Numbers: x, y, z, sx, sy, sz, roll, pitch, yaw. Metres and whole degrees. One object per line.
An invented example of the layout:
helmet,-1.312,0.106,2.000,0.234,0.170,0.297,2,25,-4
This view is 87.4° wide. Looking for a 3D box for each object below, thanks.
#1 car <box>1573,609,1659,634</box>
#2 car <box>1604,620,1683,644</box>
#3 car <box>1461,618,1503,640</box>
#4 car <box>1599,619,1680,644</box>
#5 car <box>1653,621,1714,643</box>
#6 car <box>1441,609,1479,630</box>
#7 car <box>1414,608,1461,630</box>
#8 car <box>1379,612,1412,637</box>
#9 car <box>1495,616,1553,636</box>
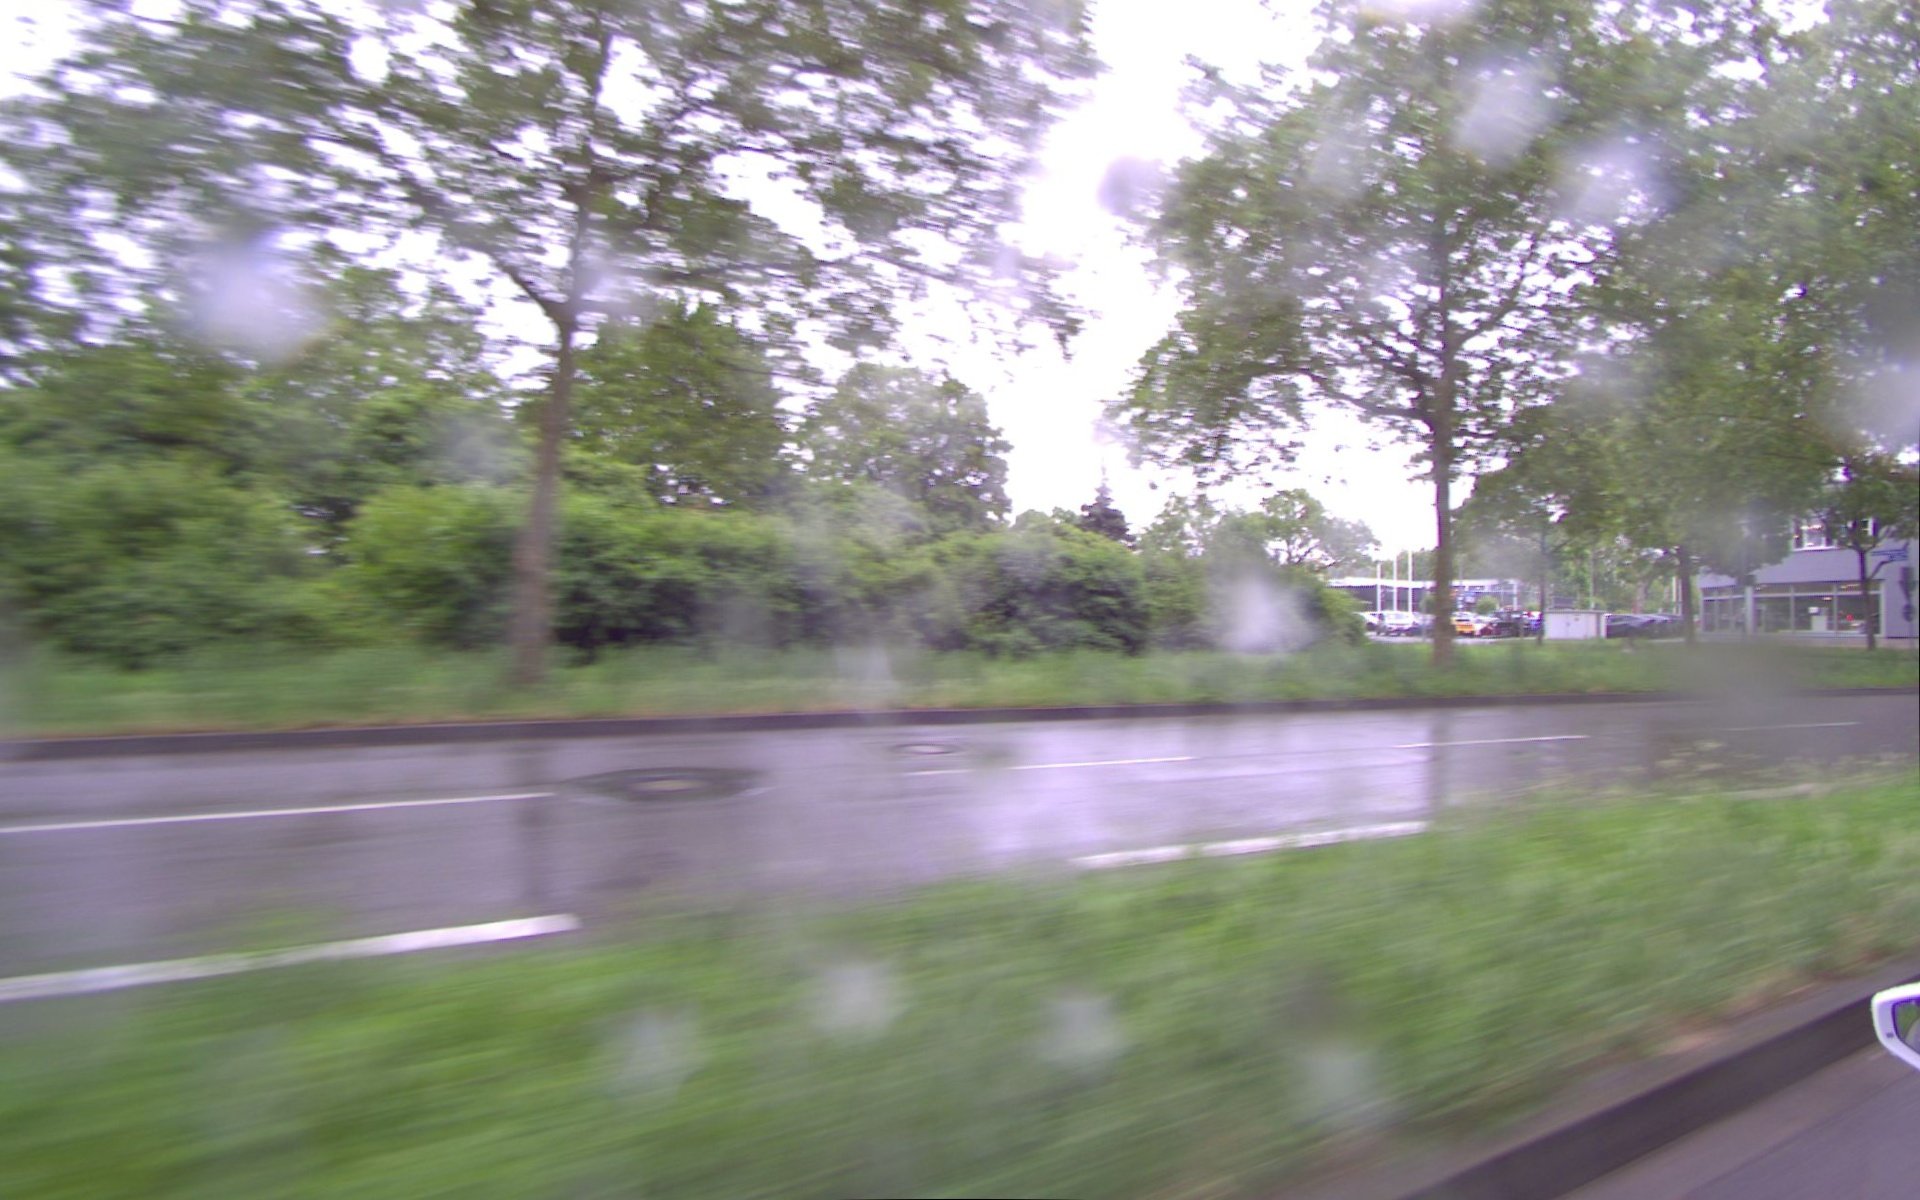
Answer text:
car,40.394,1.296,61.921,1.581,1.514,4.167,1,-1,-33
car,46.504,2.132,68.425,1.581,1.514,4.167,1,-1,-33
car,38.498,2.138,74.114,1.565,1.514,4.208,0,-1,10
car,44.543,2.057,65.904,1.581,1.514,4.167,1,-1,-33
car,53.124,2.336,73.804,1.581,1.514,3.287,1,-1,-33
car,36.586,1.417,73.552,1.565,1.514,3.074,0,-1,9
car,34.290,1.353,72.236,1.847,1.514,4.207,0,-1,7
car,33.263,1.869,76.729,1.782,1.838,4.206,0,-1,16
car,44.828,2.046,79.866,1.581,1.514,3.739,1,-1,-33
